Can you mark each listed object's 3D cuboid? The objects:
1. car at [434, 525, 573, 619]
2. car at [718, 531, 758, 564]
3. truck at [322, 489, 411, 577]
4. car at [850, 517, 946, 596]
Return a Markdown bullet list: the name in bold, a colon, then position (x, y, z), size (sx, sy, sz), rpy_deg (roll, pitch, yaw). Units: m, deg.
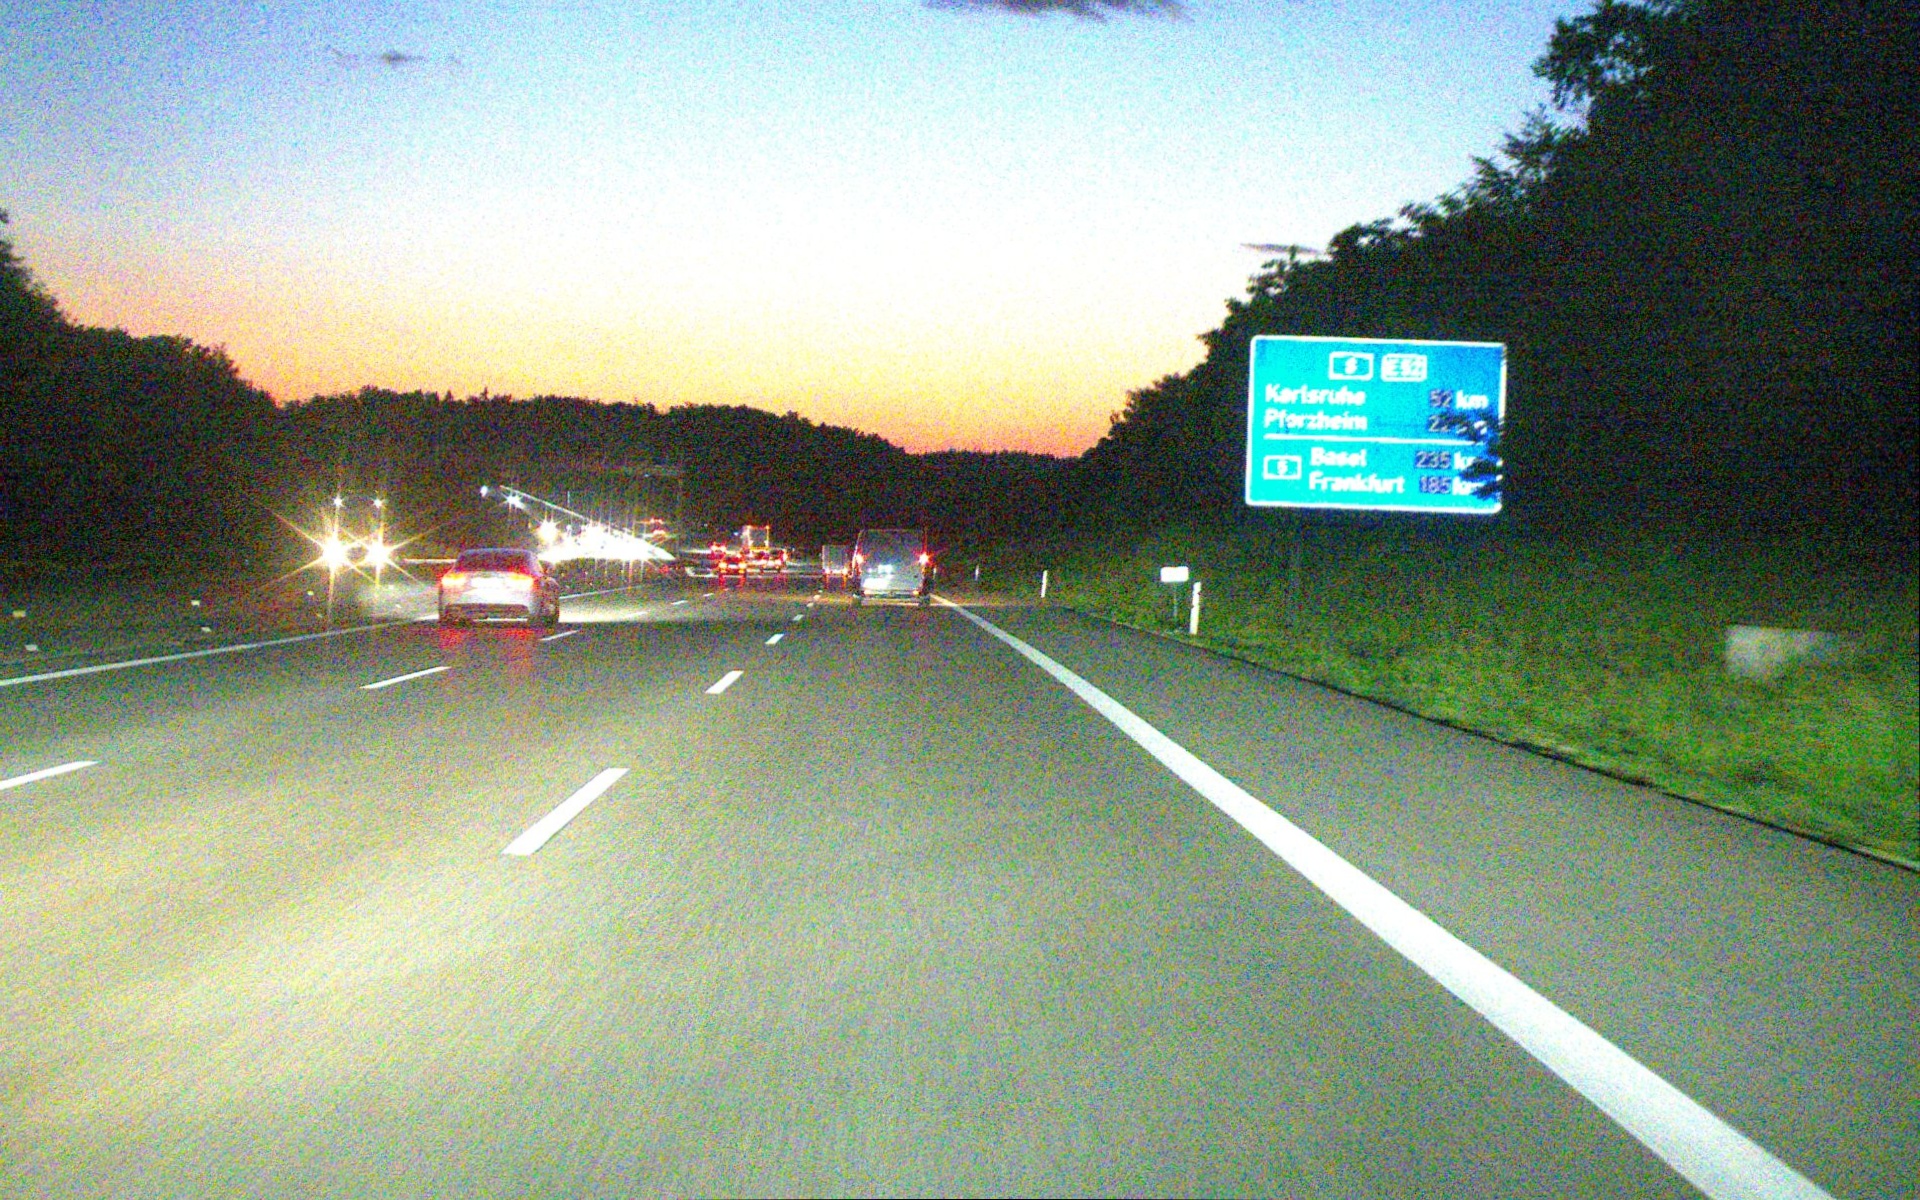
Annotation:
- **car**: position (-8.180, -0.543, 61.969), size (1.779, 1.481, 5.254), rpy_deg (4, 2, -1)
- **car**: position (-14.389, -3.436, 222.813), size (2.196, 1.948, 4.634), rpy_deg (4, 2, -1)
- **truck**: position (-26.767, -3.016, 155.392), size (2.519, 3.838, 9.065), rpy_deg (1, 1, -1)
- **car**: position (-1.554, -1.139, 88.159), size (2.197, 1.948, 4.763), rpy_deg (0, 2, 2)
